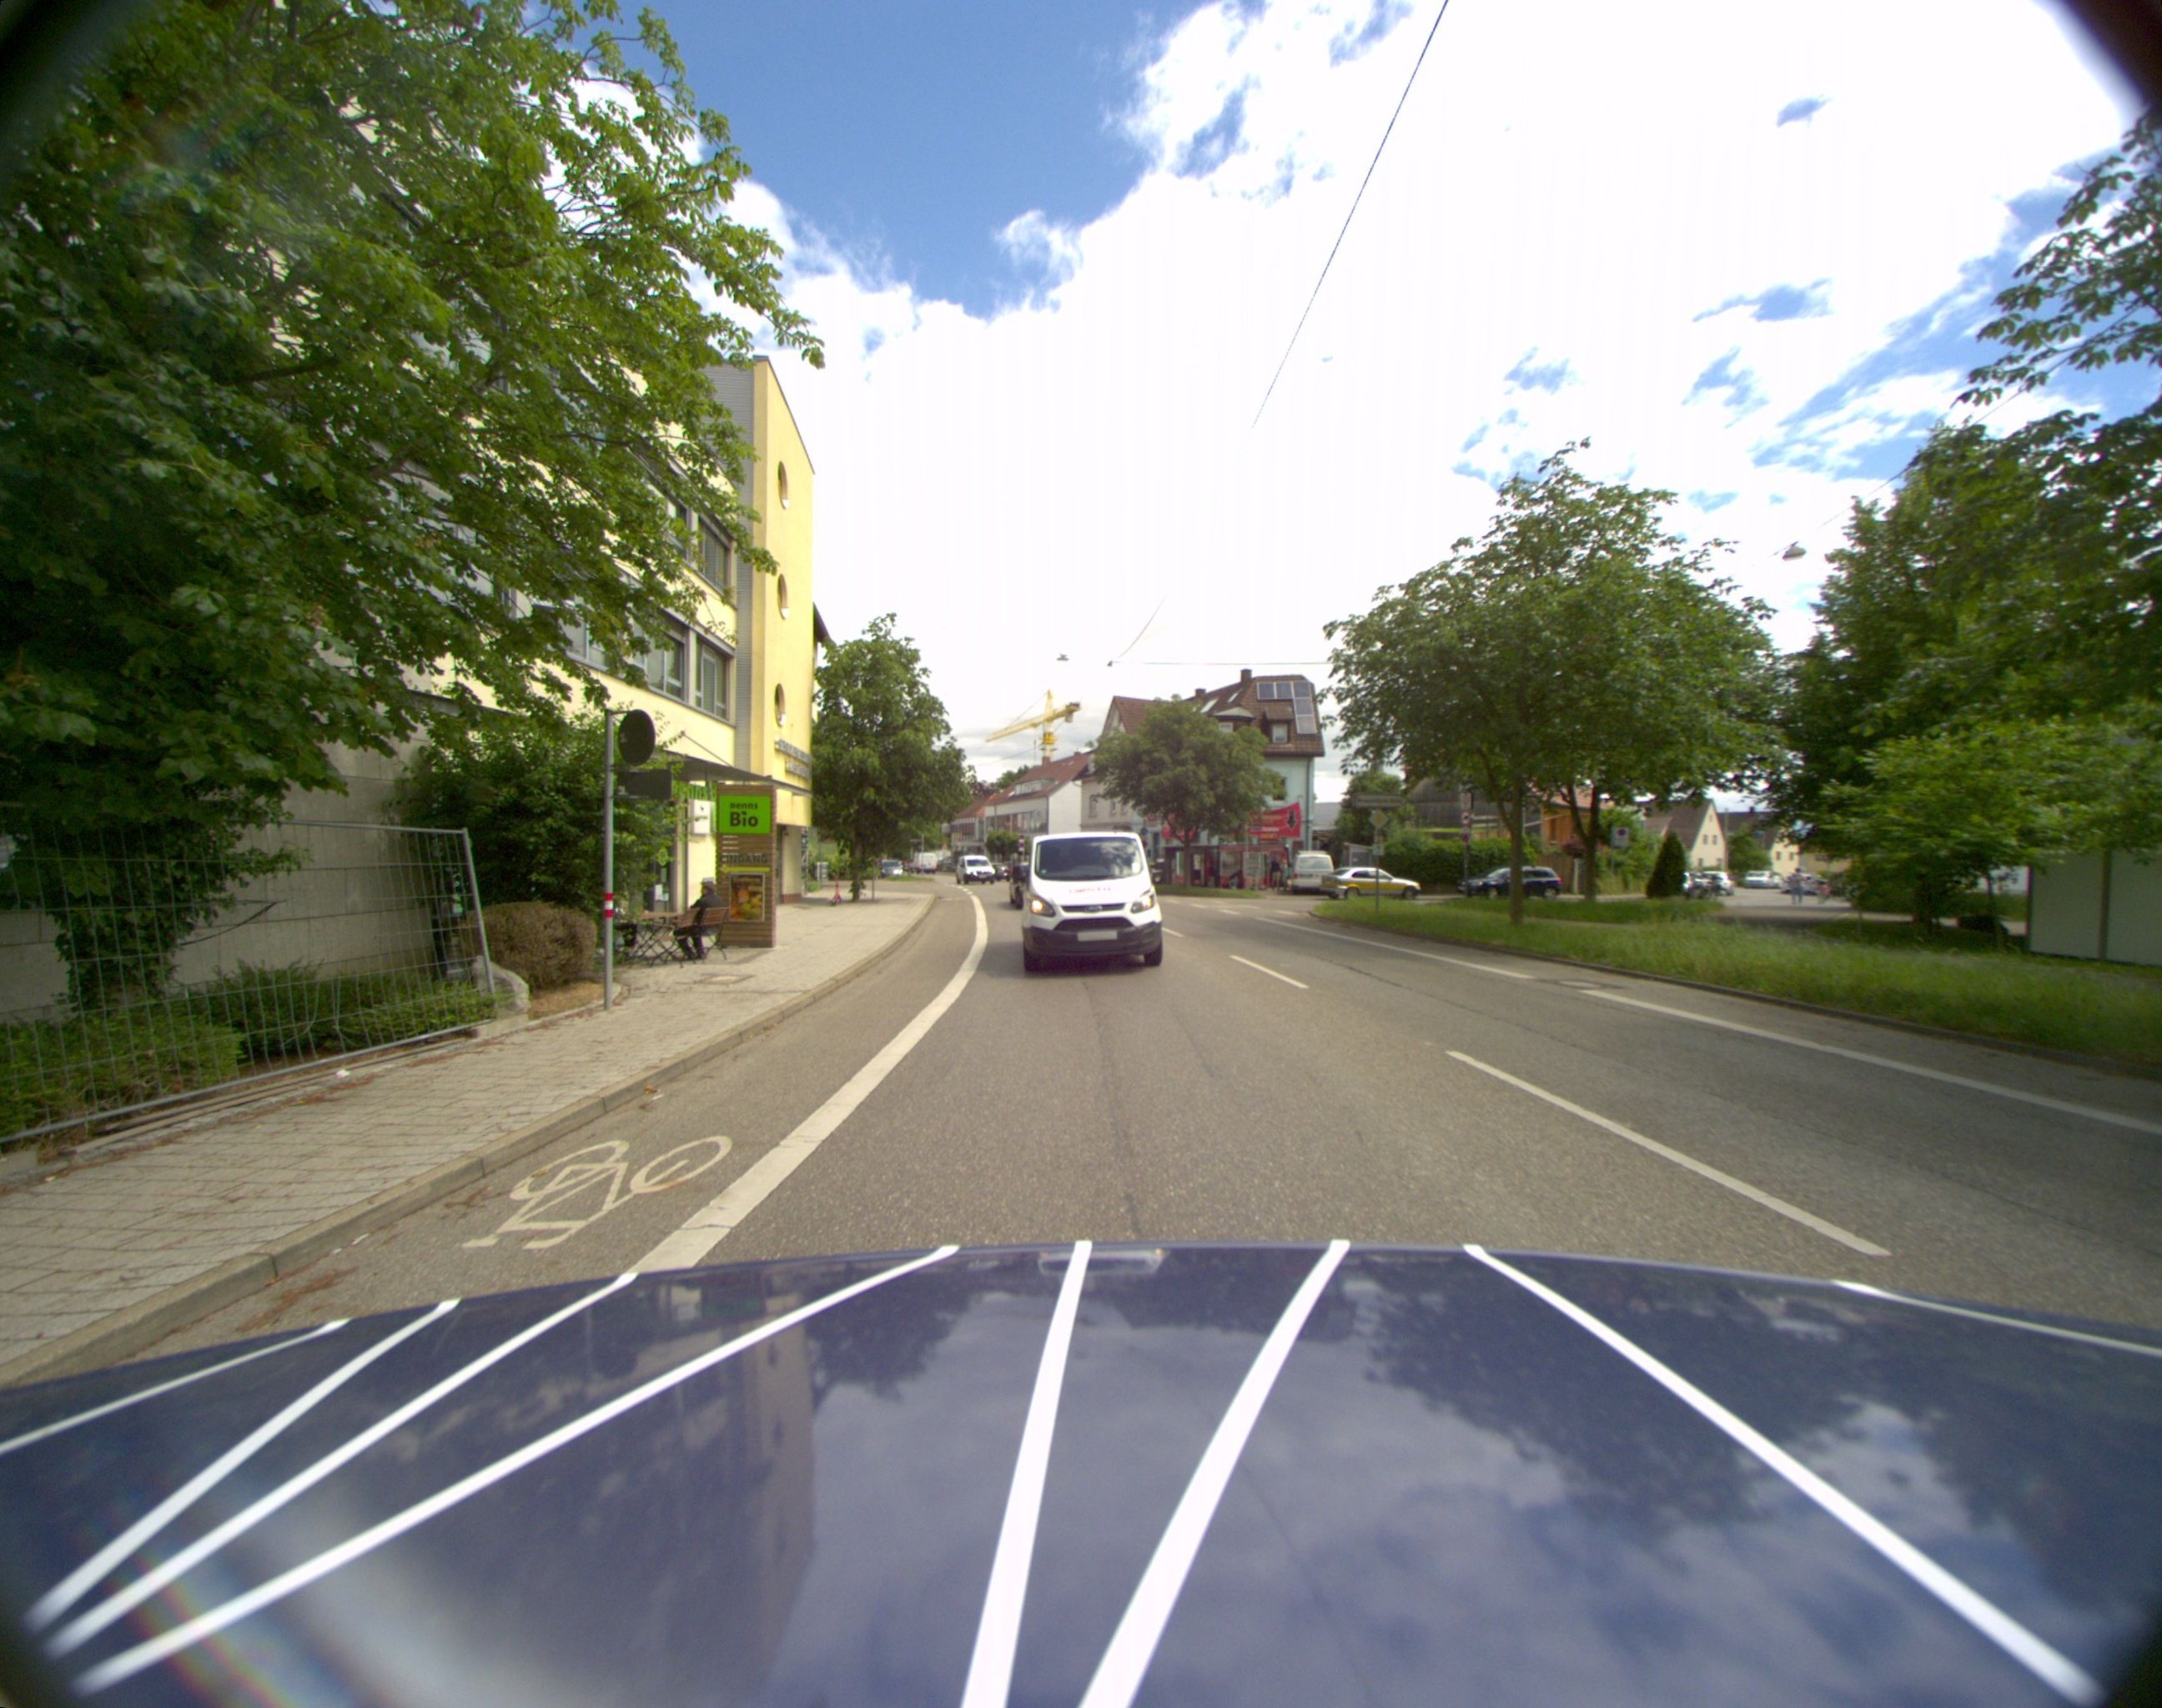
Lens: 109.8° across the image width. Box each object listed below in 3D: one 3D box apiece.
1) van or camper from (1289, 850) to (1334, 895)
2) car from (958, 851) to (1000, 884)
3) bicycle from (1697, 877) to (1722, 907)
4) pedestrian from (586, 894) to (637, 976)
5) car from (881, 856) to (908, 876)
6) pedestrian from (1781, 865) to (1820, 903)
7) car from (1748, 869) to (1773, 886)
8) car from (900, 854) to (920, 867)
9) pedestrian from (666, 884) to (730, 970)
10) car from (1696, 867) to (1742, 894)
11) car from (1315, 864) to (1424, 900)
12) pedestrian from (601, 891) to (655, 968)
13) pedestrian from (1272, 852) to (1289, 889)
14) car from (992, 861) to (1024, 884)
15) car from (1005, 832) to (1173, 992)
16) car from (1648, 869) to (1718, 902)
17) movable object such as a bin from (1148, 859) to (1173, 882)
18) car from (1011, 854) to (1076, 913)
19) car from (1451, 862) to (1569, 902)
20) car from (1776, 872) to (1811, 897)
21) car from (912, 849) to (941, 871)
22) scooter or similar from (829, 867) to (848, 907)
[{"bbox_3d":[11.191,0.819,37.072,1.787,1.982,4.383,1,1,13],"label":"van or camper"},{"bbox_3d":[-6.425,0.797,47.674,1.968,1.797,4.422,-1,2,-16],"label":"car"},{"bbox_3d":[20.780,1.234,25.109,0.462,0.855,2.230,1,2,44],"label":"bicycle"},{"bbox_3d":[-7.203,1.230,11.668,0.523,1.175,0.500,-1,2,-17],"label":"pedestrian"},{"bbox_3d":[-15.974,1.051,64.823,1.697,1.656,4.454,1,-1,-21],"label":"car"},{"bbox_3d":[30.016,1.259,31.709,0.736,1.584,0.814,0,-4,-8],"label":"pedestrian"},{"bbox_3d":[71.782,2.499,80.263,3.635,1.549,1.589,-2,3,-44],"label":"car"},{"bbox_3d":[-21.532,0.772,95.712,1.778,1.417,4.100,3,0,-23],"label":"car"},{"bbox_3d":[-6.153,1.160,12.222,0.689,1.309,0.579,0,2,10],"label":"pedestrian"},{"bbox_3d":[38.485,1.567,45.816,3.785,1.315,1.589,-2,3,-43],"label":"car"},{"bbox_3d":[12.394,1.194,32.738,4.030,1.405,1.813,0,2,-11],"label":"car"},{"bbox_3d":[-7.398,1.226,12.426,0.578,1.197,0.502,-1,2,-6],"label":"pedestrian"},{"bbox_3d":[10.267,0.830,39.079,0.626,1.885,0.563,-2,2,-34],"label":"pedestrian"},{"bbox_3d":[-5.383,1.298,55.661,1.693,1.473,4.221,4,0,-13],"label":"car"},{"bbox_3d":[-0.040,0.742,12.553,2.107,1.982,5.227,-3,0,-3],"label":"car"},{"bbox_3d":[29.183,1.506,36.824,3.784,1.315,1.589,-1,3,-35],"label":"car"},{"bbox_3d":[4.886,1.029,46.926,1.024,1.347,1.244,-1,2,-24],"label":"movable object such as a bin"},{"bbox_3d":[-1.333,0.896,25.214,1.810,1.619,4.683,-3,1,-6],"label":"car"},{"bbox_3d":[18.215,1.164,32.365,4.001,1.540,1.814,0,3,-5],"label":"car"},{"bbox_3d":[52.011,2.173,55.453,3.635,1.549,1.589,-2,3,-44],"label":"car"},{"bbox_3d":[-17.265,0.689,84.764,2.072,2.339,5.173,3,-1,-22],"label":"car"},{"bbox_3d":[-8.383,1.122,26.259,0.382,1.309,1.457,-1,2,-9],"label":"scooter or similar"}]
